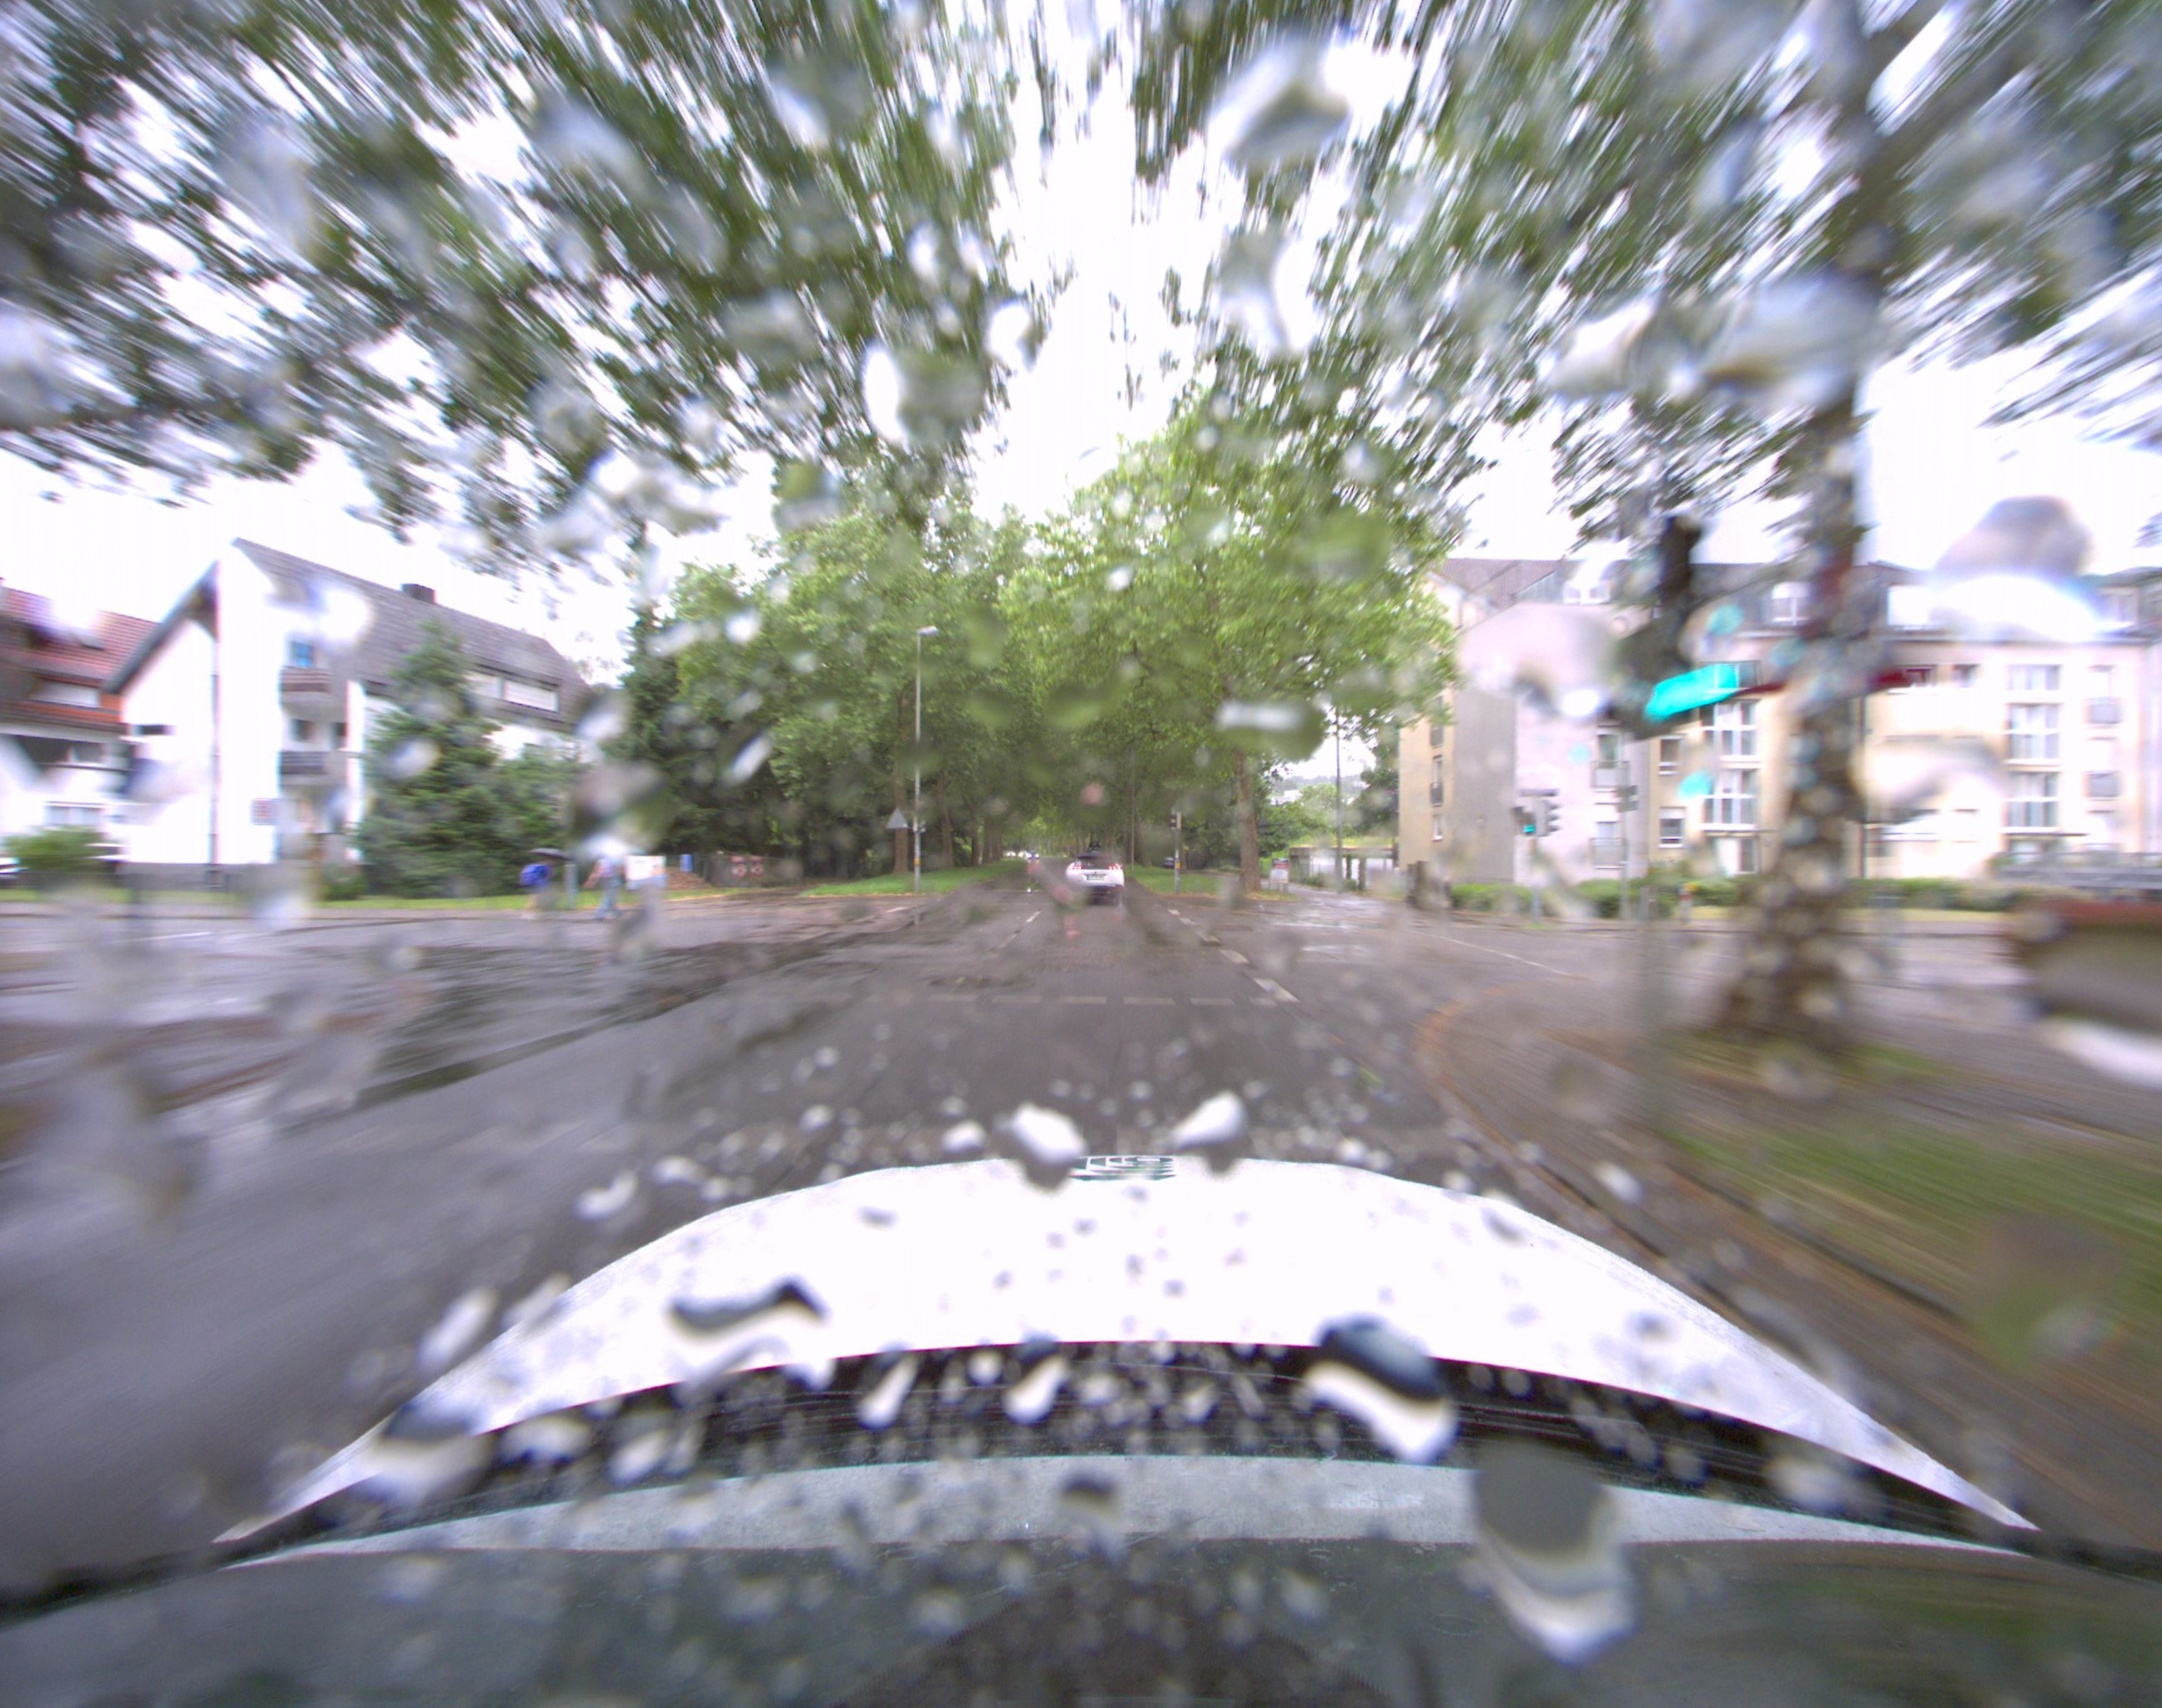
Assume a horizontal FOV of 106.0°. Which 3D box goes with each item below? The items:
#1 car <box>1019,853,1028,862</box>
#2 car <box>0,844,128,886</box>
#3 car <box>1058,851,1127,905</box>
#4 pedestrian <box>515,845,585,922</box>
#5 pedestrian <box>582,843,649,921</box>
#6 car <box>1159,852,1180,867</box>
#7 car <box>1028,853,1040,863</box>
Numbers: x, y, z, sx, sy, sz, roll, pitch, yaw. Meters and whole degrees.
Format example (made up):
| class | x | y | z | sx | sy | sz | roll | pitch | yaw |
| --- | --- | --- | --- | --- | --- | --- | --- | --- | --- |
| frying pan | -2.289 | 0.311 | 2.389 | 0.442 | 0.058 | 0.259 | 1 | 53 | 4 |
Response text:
| class | x | y | z | sx | sy | sz | roll | pitch | yaw |
| --- | --- | --- | --- | --- | --- | --- | --- | --- | --- |
| car | -12.935 | 0.846 | 184.058 | 1.736 | 2.013 | 3.662 | 1 | 0 | -1 |
| car | -37.859 | 0.408 | 29.767 | 1.609 | 1.446 | 3.660 | -1 | -1 | 4 |
| car | 0.285 | 0.692 | 25.614 | 1.777 | 1.536 | 4.050 | 0 | 0 | -5 |
| pedestrian | -12.410 | 0.676 | 19.074 | 1.028 | 1.765 | 0.880 | 0 | 0 | 4 |
| pedestrian | -10.841 | 0.641 | 18.990 | 1.028 | 1.765 | 0.839 | 0 | 0 | 4 |
| car | 9.503 | 0.576 | 87.971 | 1.899 | 1.510 | 3.931 | 0 | 0 | 0 |
| car | -8.291 | 0.739 | 143.548 | 1.867 | 1.677 | 3.708 | 0 | 0 | 0 |
